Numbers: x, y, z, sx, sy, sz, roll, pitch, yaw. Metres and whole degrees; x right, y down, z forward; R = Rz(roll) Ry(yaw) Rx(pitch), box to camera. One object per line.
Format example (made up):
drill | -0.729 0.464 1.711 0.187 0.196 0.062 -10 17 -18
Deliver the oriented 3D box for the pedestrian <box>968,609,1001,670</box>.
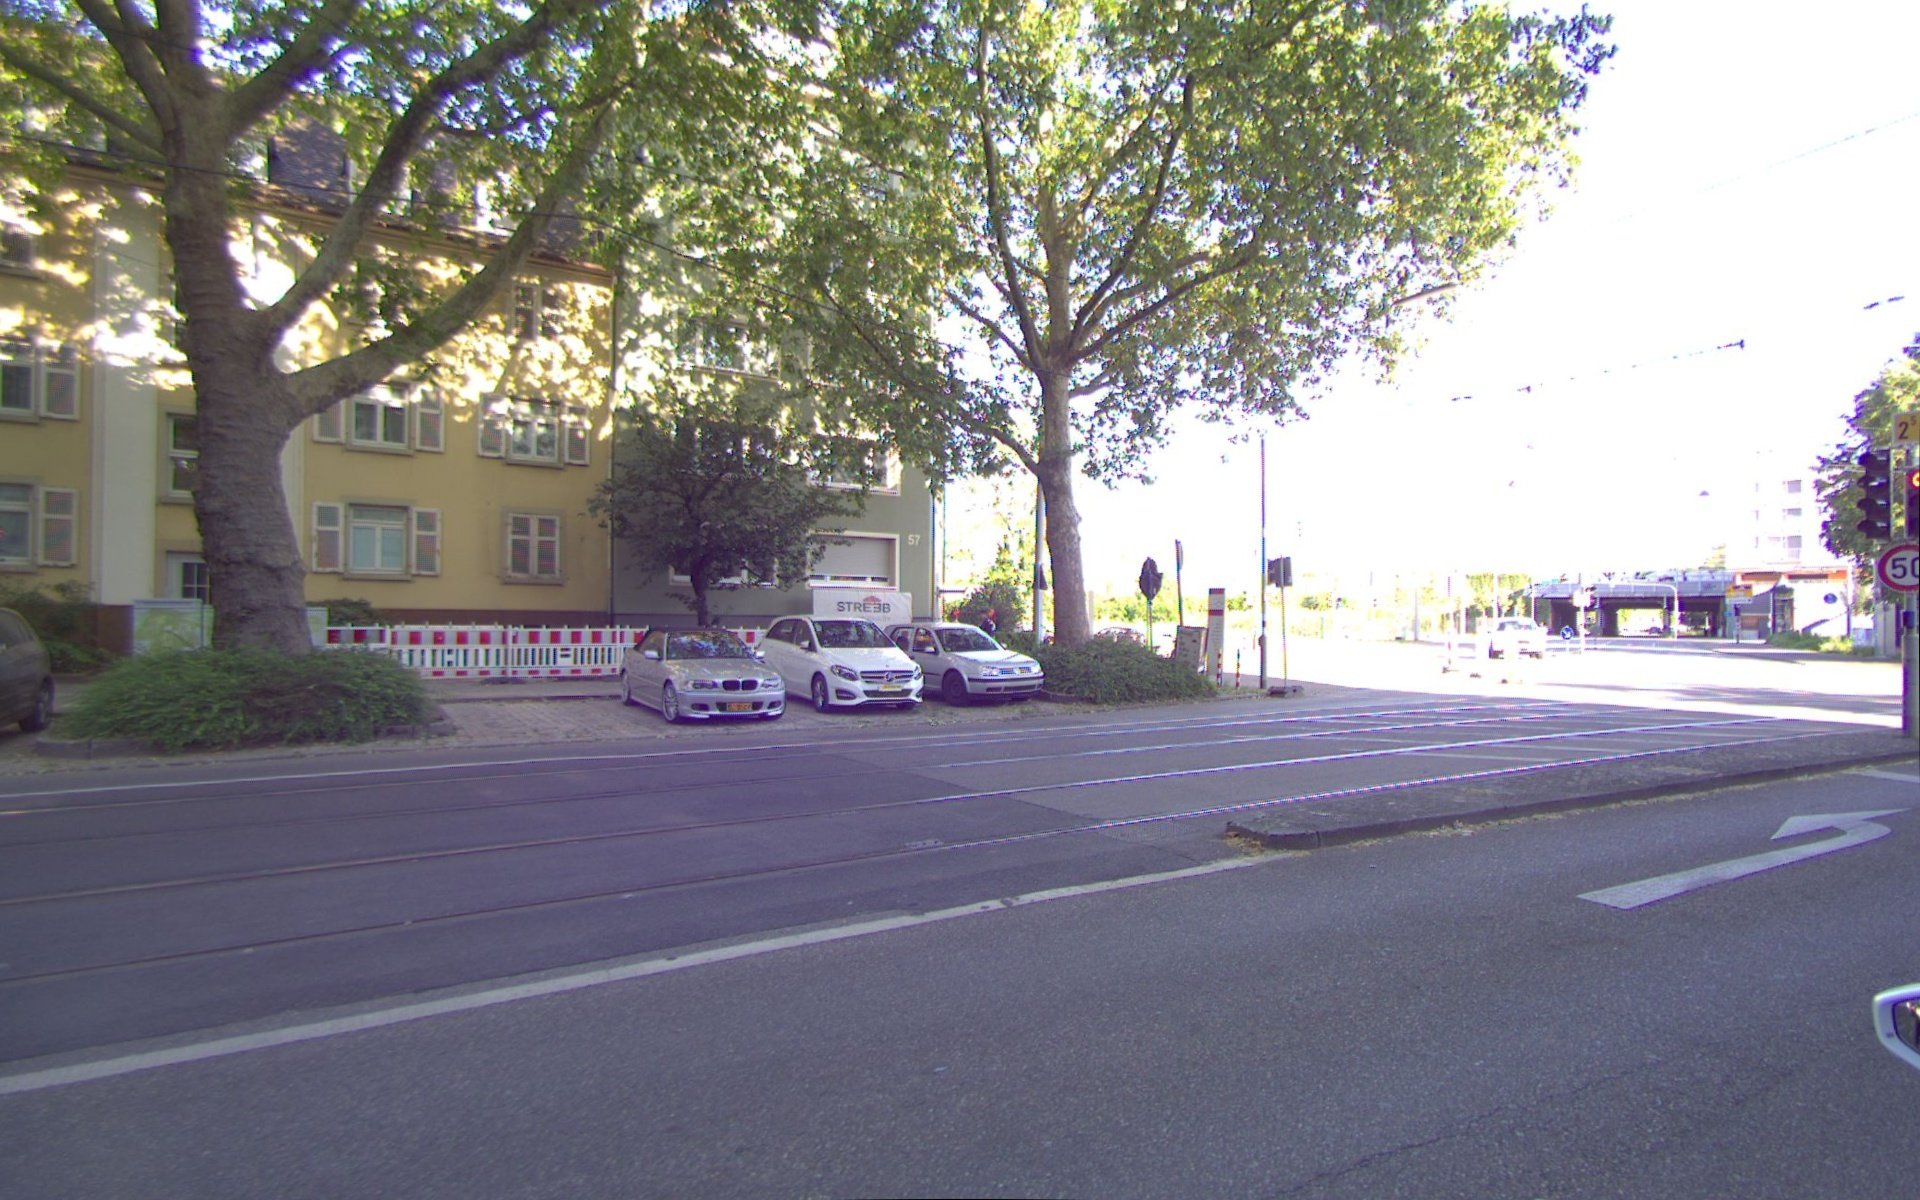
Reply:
pedestrian | 0.652 1.052 26.952 0.592 1.589 0.741 0 -1 33

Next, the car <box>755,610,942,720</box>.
car | -2.098 1.056 17.802 1.823 1.633 4.051 2 -1 -30

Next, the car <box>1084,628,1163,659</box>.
car | 9.176 2.416 56.320 3.932 1.439 1.888 0 5 34

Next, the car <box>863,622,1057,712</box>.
car | -0.111 1.200 19.204 1.688 1.436 3.959 2 -1 -36

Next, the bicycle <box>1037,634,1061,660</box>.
bicycle | 2.749 1.444 31.037 0.351 0.769 1.781 0 -1 18

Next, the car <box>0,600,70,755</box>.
car | -11.410 0.828 10.860 1.823 1.640 4.051 2 -1 -30

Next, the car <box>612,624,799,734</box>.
car | -4.143 1.143 15.889 1.823 1.387 4.051 2 -1 -30

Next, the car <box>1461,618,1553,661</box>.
car | 22.533 1.579 41.559 1.959 1.653 4.634 0 -1 10

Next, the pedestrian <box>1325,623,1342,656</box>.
pedestrian | 18.592 1.943 50.001 0.591 1.617 0.683 1 0 34

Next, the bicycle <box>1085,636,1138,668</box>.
bicycle | 4.519 1.543 30.043 0.355 0.900 1.759 1 -1 -41
